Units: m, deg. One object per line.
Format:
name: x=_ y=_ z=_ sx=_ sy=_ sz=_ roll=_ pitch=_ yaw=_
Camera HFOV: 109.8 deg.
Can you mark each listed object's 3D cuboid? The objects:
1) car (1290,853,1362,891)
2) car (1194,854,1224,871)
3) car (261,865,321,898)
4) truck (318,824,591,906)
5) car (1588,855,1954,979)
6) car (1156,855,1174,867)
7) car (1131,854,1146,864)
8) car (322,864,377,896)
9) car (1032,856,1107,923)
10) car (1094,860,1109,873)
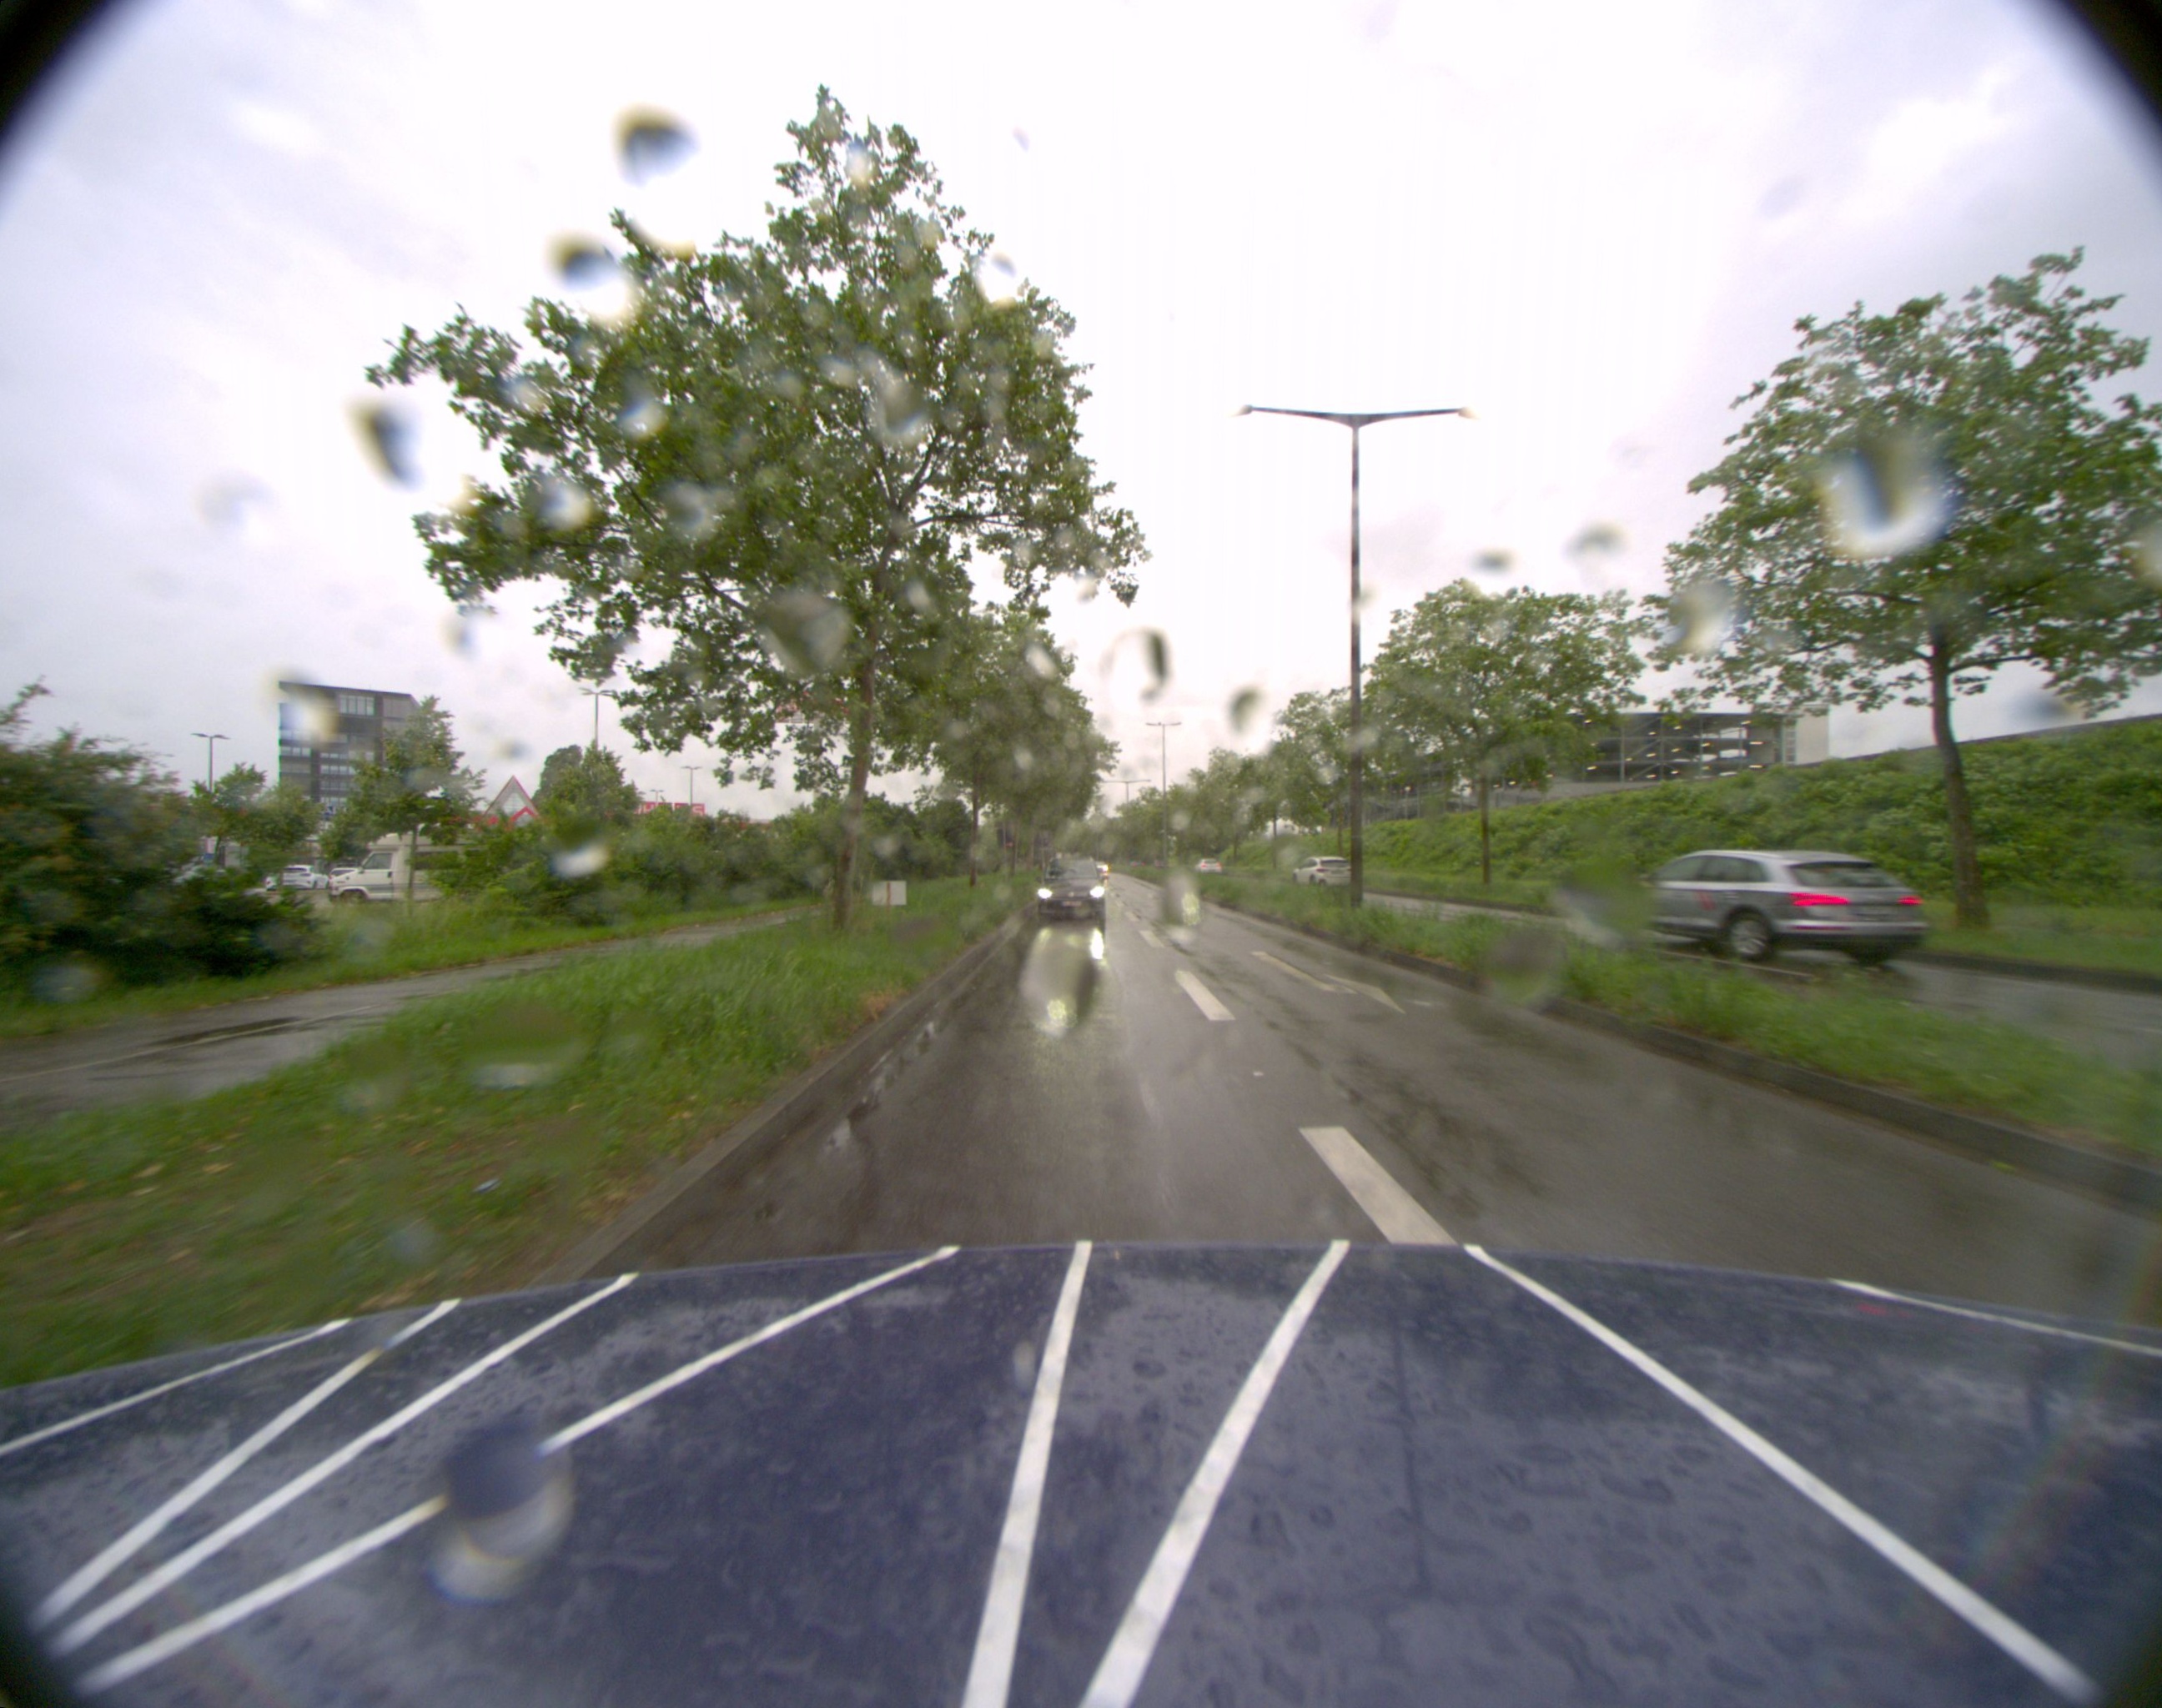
car: x=10.995 y=0.771 z=34.395 sx=1.861 sy=1.580 sz=4.518 roll=0 pitch=0 yaw=1
car: x=11.357 y=0.729 z=67.776 sx=1.936 sy=1.436 sz=4.657 roll=-1 pitch=0 yaw=0
car: x=-50.943 y=1.732 z=49.093 sx=1.902 sy=2.002 sz=3.779 roll=-2 pitch=0 yaw=-34
truck: x=-19.930 y=0.310 z=24.500 sx=6.552 sy=2.291 sz=2.219 roll=-2 pitch=1 yaw=-6
car: x=10.588 y=0.834 z=12.269 sx=1.861 sy=1.580 sz=4.519 roll=1 pitch=0 yaw=2
car: x=10.920 y=0.888 z=98.553 sx=1.936 sy=1.436 sz=3.707 roll=-1 pitch=0 yaw=0
car: x=8.667 y=0.762 z=114.326 sx=1.936 sy=1.436 sz=4.496 roll=-1 pitch=0 yaw=0
car: x=-48.801 y=1.686 z=50.771 sx=1.902 sy=2.002 sz=4.064 roll=-2 pitch=0 yaw=-34
car: x=-0.211 y=0.919 z=21.772 sx=1.788 sy=1.605 sz=4.717 roll=-2 pitch=0 yaw=3
car: x=2.546 y=1.489 z=94.165 sx=1.729 sy=1.470 sz=4.000 roll=-3 pitch=0 yaw=1
